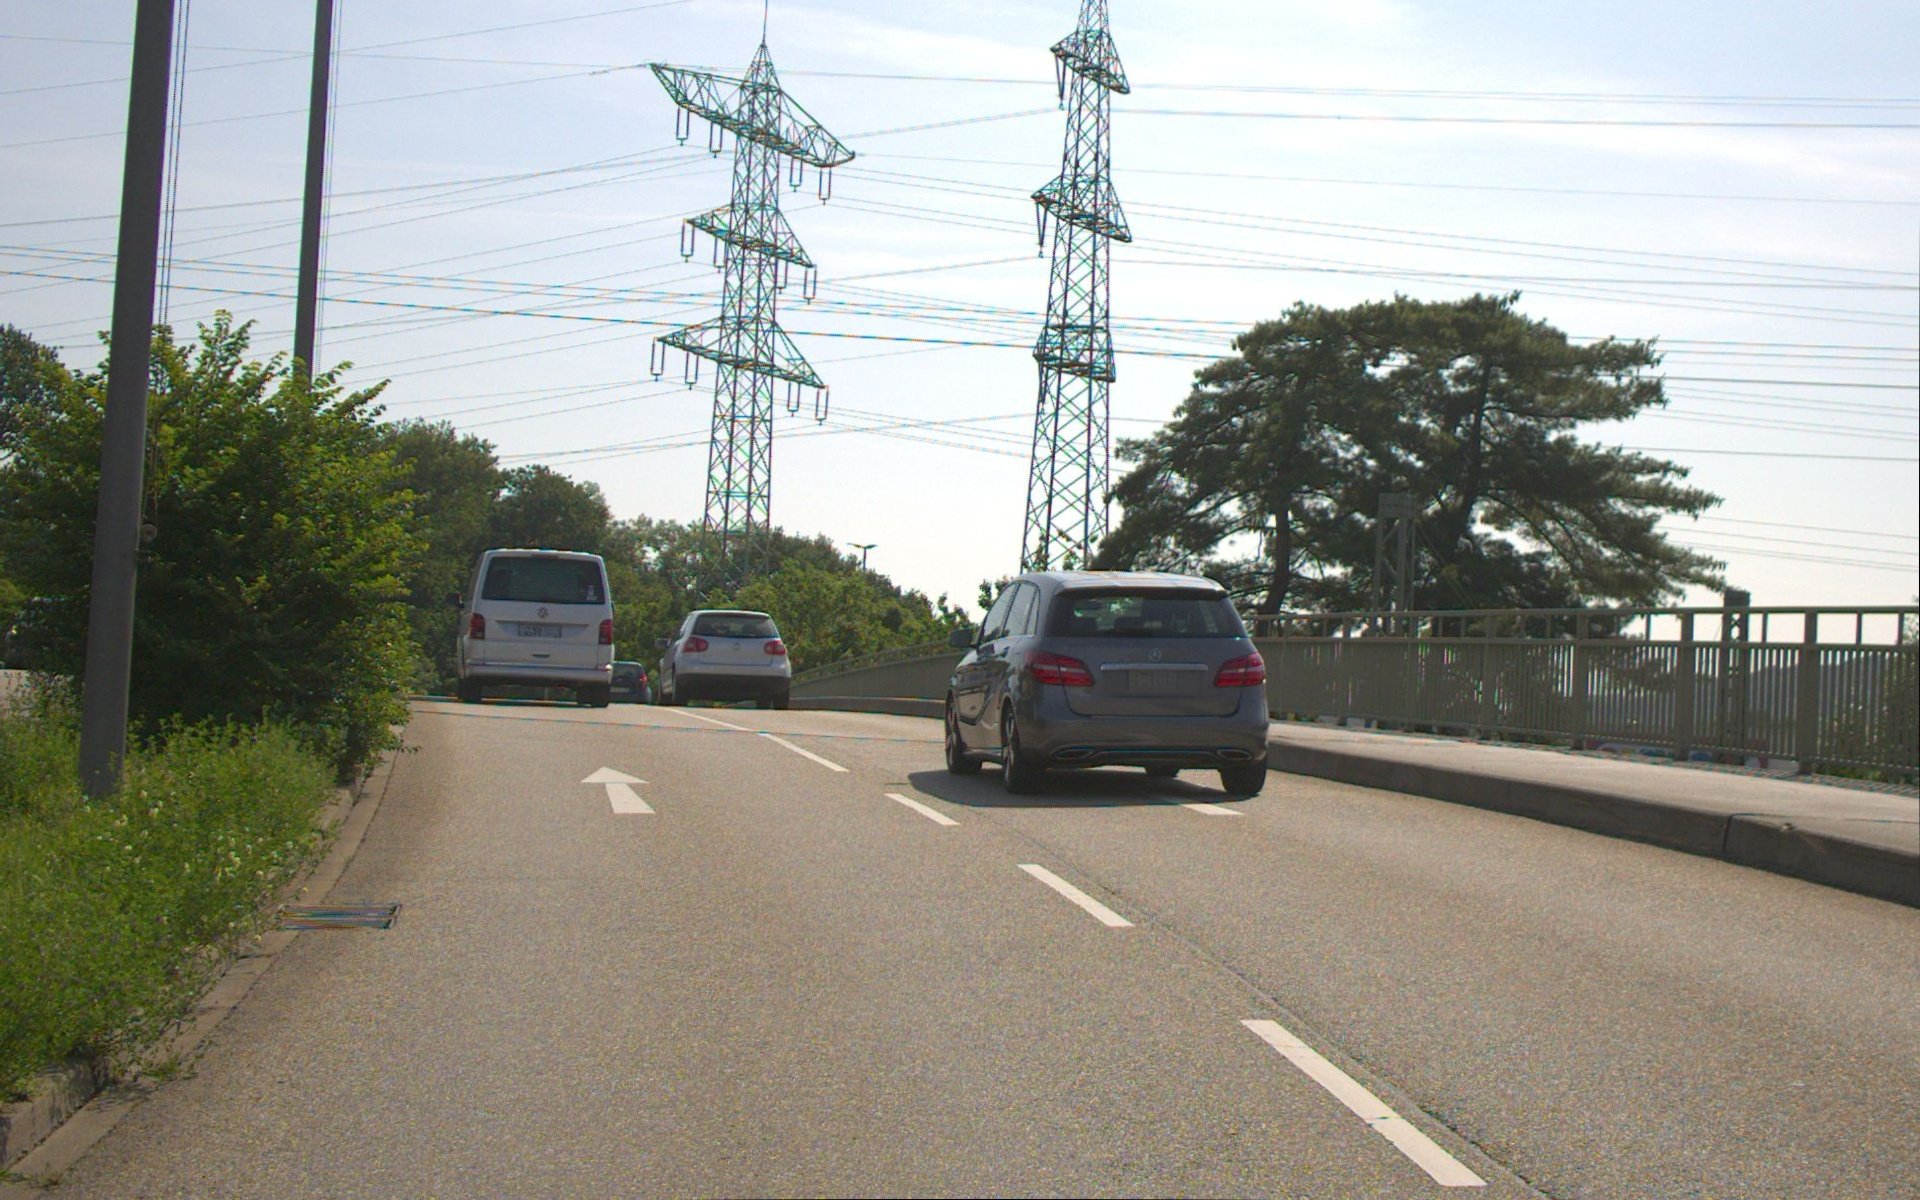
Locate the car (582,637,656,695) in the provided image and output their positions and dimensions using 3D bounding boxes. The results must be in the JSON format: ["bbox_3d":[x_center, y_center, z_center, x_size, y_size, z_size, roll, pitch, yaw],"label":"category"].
[{"bbox_3d":[-8.604,1.679,86.541,1.773,1.327,3.740,1,-3,-7],"label":"car"}]

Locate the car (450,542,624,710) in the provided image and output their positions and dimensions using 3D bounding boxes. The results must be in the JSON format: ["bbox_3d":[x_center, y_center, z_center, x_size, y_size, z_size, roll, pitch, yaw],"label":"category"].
[{"bbox_3d":[-5.416,0.308,44.469,2.039,2.007,4.001,2,0,-5],"label":"car"}]

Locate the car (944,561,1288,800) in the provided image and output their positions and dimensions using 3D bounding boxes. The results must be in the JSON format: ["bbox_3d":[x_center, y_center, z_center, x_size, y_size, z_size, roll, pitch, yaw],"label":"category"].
[{"bbox_3d":[1.023,0.541,24.731,1.856,1.524,4.144,2,0,-6],"label":"car"}]

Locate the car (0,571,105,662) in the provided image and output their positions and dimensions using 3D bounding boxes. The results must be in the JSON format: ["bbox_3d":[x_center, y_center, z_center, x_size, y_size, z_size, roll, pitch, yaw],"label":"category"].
[{"bbox_3d":[-17.995,0.298,67.694,1.881,1.630,4.226,2,1,-10],"label":"car"}]

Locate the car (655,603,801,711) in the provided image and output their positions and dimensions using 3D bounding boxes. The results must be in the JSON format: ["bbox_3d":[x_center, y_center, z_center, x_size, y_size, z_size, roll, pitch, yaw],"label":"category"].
[{"bbox_3d":[-3.570,0.858,52.362,1.856,1.524,4.145,2,-1,-8],"label":"car"}]
